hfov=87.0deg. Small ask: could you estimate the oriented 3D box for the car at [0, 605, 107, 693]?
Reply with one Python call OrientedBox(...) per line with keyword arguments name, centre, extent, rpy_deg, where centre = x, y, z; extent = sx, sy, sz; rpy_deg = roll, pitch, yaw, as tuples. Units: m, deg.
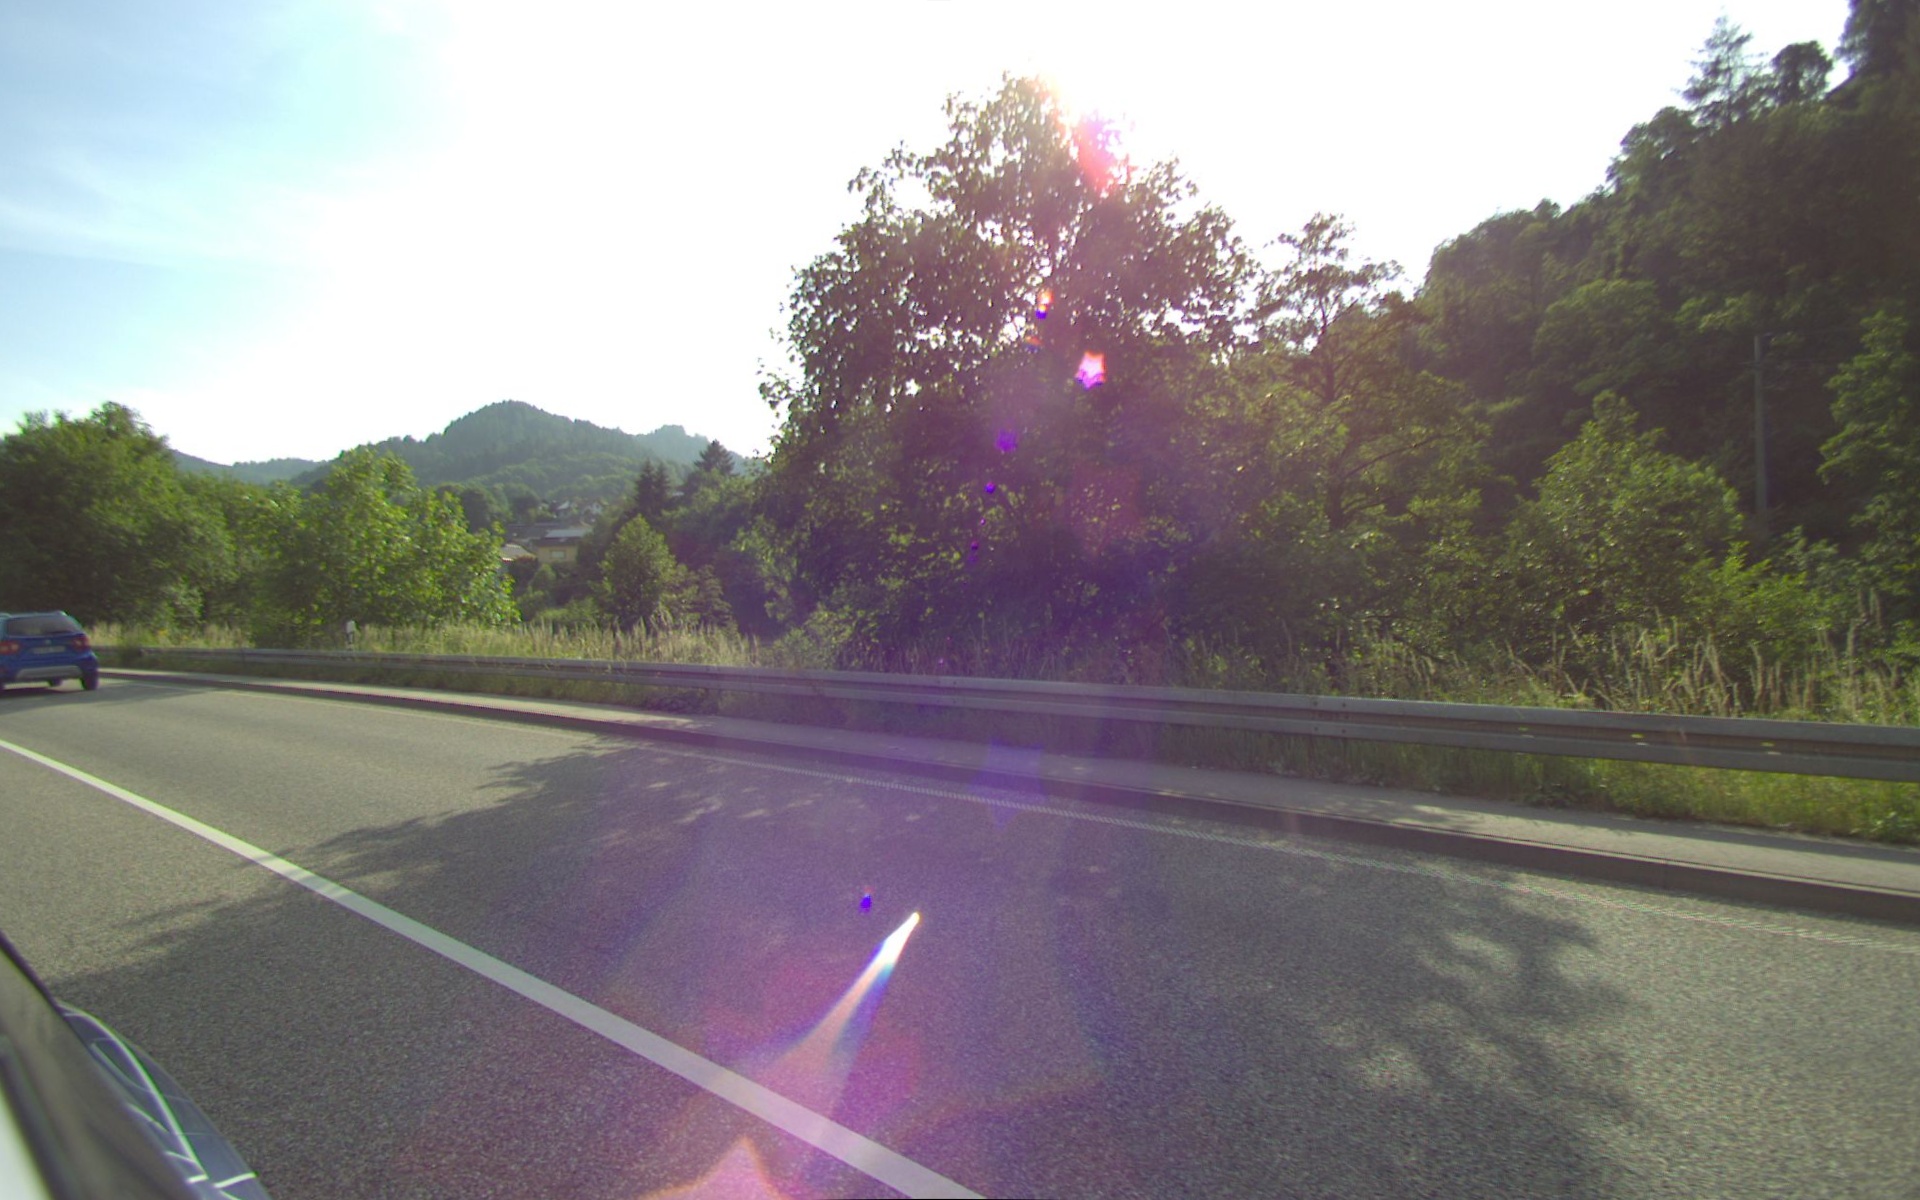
OrientedBox(name="car", centre=(-19.035, 0.948, 20.499), extent=(3.992, 1.578, 1.736), rpy_deg=(-1, 1, 36))
